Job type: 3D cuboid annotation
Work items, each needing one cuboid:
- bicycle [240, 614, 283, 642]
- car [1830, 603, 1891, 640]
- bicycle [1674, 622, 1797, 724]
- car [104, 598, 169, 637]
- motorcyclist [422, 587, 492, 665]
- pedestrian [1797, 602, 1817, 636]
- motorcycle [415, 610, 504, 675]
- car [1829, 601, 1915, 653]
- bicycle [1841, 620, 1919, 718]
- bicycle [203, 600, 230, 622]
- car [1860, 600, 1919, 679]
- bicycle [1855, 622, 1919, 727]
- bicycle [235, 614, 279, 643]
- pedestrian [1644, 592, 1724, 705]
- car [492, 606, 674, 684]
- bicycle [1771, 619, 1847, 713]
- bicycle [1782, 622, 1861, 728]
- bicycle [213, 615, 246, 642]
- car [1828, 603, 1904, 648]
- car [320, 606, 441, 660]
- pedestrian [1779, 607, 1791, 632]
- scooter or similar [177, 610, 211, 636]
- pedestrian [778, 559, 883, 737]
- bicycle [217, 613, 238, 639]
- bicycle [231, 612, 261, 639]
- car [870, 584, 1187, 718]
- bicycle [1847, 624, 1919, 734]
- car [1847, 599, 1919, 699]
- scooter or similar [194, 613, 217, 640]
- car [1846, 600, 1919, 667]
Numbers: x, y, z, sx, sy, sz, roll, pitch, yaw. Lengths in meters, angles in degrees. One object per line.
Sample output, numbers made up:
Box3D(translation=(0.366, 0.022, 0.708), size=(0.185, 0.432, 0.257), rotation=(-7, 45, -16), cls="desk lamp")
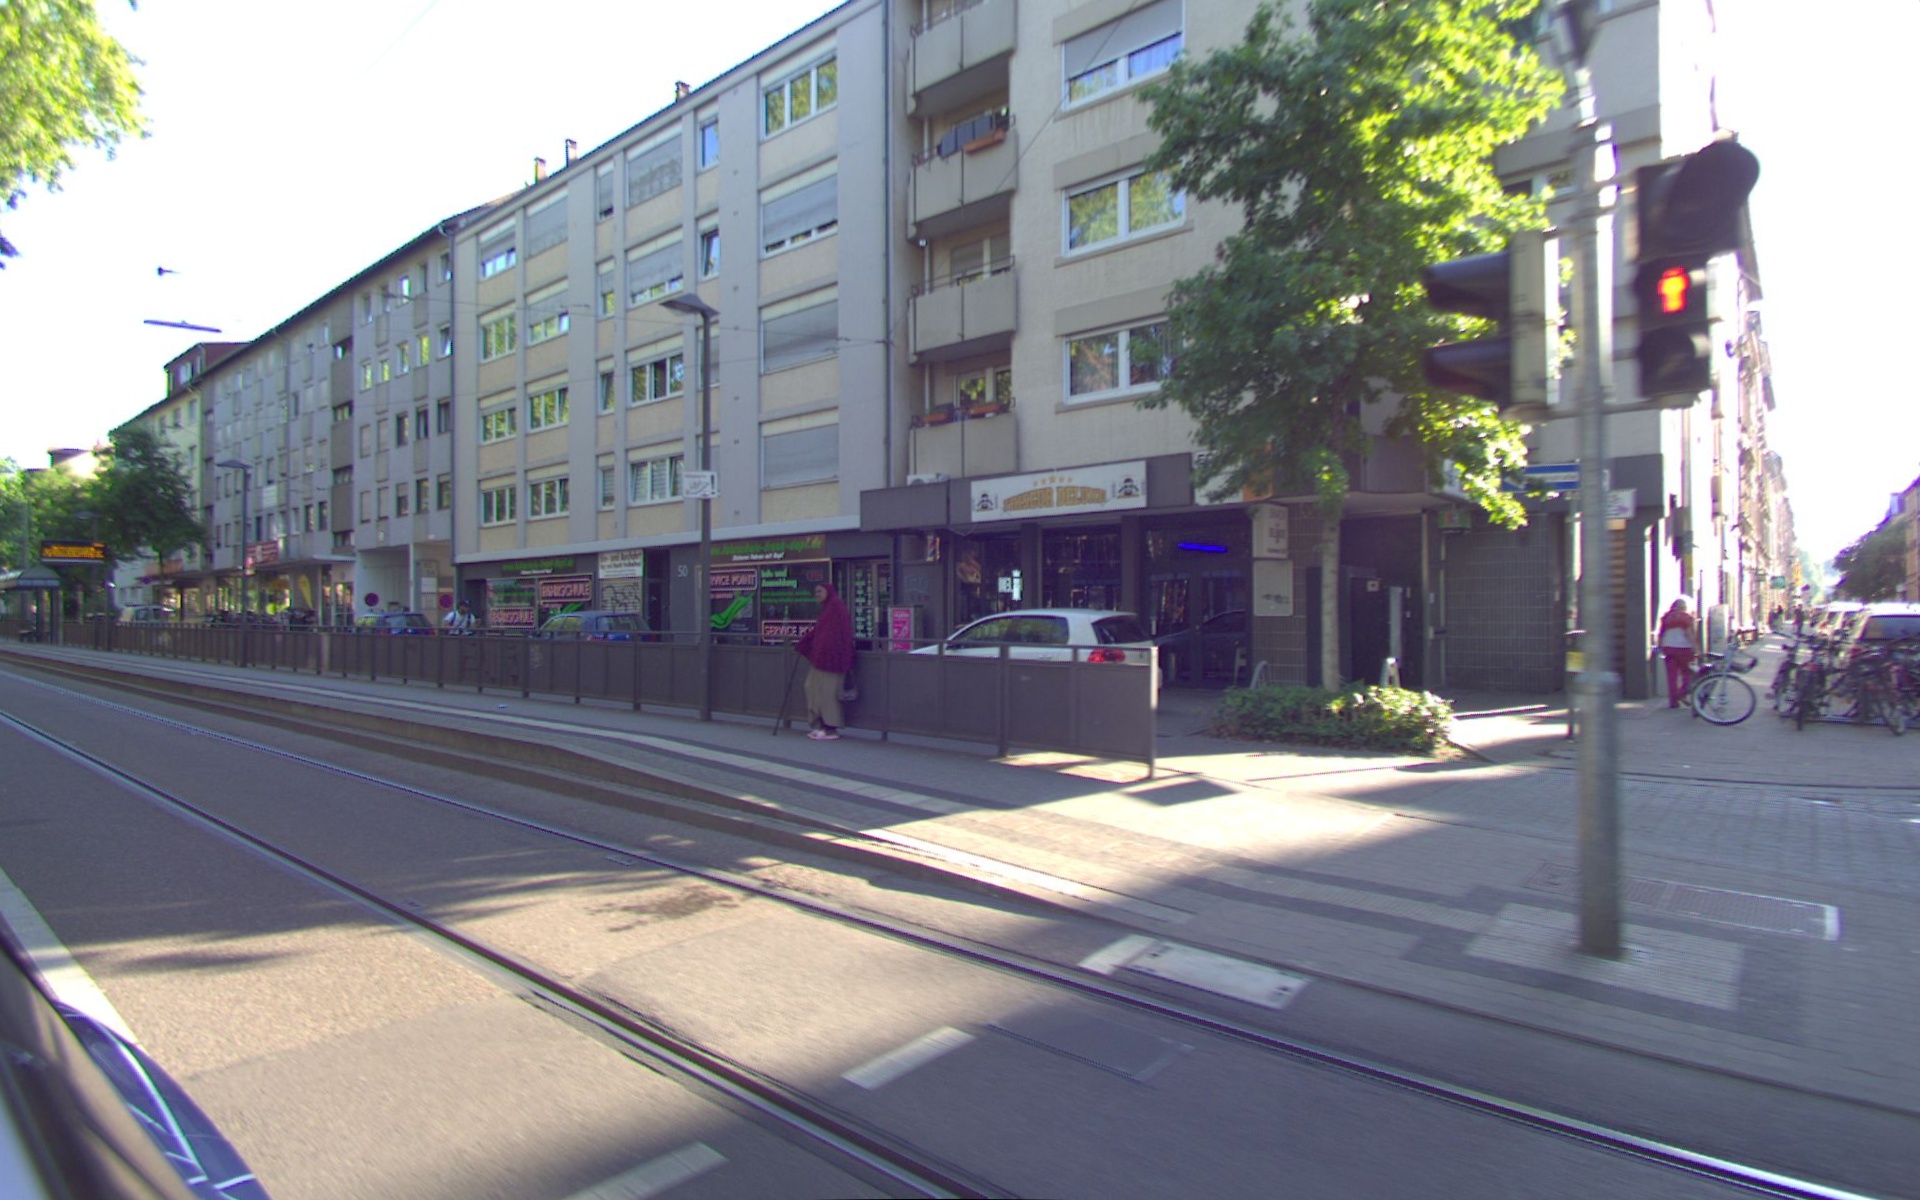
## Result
Box3D(translation=(-29.452, 1.177, 42.655), size=(2.019, 1.165, 0.556), rotation=(0, -1, 25), cls="bicycle")
Box3D(translation=(38.751, 0.884, 43.619), size=(1.894, 1.515, 3.731), rotation=(-1, -1, 41), cls="car")
Box3D(translation=(9.730, 0.867, 12.781), size=(0.567, 1.165, 2.025), rotation=(0, -1, 18), cls="bicycle")
Box3D(translation=(-42.184, 0.900, 51.827), size=(4.045, 1.949, 1.785), rotation=(-1, -1, 39), cls="car")
Box3D(translation=(-9.644, 0.487, 19.394), size=(1.015, 1.451, 0.864), rotation=(-1, -1, 40), cls="motorcyclist")
Box3D(translation=(40.169, 0.888, 47.988), size=(0.664, 1.568, 0.717), rotation=(-1, -1, 37), cls="pedestrian")
Box3D(translation=(-9.595, 0.789, 19.363), size=(1.913, 1.173, 0.840), rotation=(-1, -1, 40), cls="motorcycle")
Box3D(translation=(28.391, 0.802, 31.606), size=(1.894, 1.515, 3.731), rotation=(-1, -1, 41), cls="car")
Box3D(translation=(11.935, 0.851, 13.035), size=(1.761, 1.165, 0.573), rotation=(0, -1, -39), cls="bicycle")
Box3D(translation=(-40.710, 0.621, 55.426), size=(2.033, 1.165, 0.565), rotation=(-1, -1, 35), cls="bicycle")
Box3D(translation=(19.647, 0.755, 20.682), size=(1.804, 1.515, 3.731), rotation=(-1, -1, 41), cls="car")
Box3D(translation=(11.458, 0.849, 11.910), size=(1.759, 1.165, 0.574), rotation=(0, -1, -19), cls="bicycle")
Box3D(translation=(-29.329, 1.181, 42.227), size=(2.019, 1.165, 0.556), rotation=(0, -1, 25), cls="bicycle")
Box3D(translation=(10.421, 0.673, 14.568), size=(0.715, 1.568, 0.727), rotation=(0, -1, -36), cls="pedestrian")
Box3D(translation=(-8.459, 0.946, 22.561), size=(4.386, 1.556, 1.936), rotation=(-1, -2, 41), cls="car")
Box3D(translation=(11.394, 0.842, 13.624), size=(0.570, 1.165, 1.769), rotation=(-1, -1, 33), cls="bicycle")
Box3D(translation=(10.328, 0.854, 12.113), size=(0.572, 1.165, 1.837), rotation=(-1, -1, 45), cls="bicycle")
Box3D(translation=(-32.629, 1.258, 45.217), size=(2.033, 1.165, 0.565), rotation=(-1, -1, 35), cls="bicycle")
Box3D(translation=(31.801, 0.859, 35.614), size=(1.894, 1.515, 3.731), rotation=(-1, -1, 41), cls="car")
Box3D(translation=(-17.095, 0.934, 29.789), size=(4.279, 1.475, 1.776), rotation=(-1, -2, 41), cls="car")
Box3D(translation=(52.451, 1.261, 64.306), size=(0.574, 1.568, 0.521), rotation=(-1, -1, 40), cls="pedestrian")
Box3D(translation=(-35.483, 1.067, 46.893), size=(1.258, 1.183, 0.445), rotation=(0, -1, 4), cls="scooter or similar")
Box3D(translation=(-1.229, 0.438, 9.585), size=(0.772, 1.597, 0.647), rotation=(-1, -1, 41), cls="pedestrian")
Box3D(translation=(-34.192, 1.198, 47.238), size=(1.688, 1.165, 0.506), rotation=(-1, -1, 44), cls="bicycle")
Box3D(translation=(-31.082, 1.111, 44.063), size=(1.748, 1.165, 0.488), rotation=(-1, -1, 35), cls="bicycle")
Box3D(translation=(0.893, 0.668, 14.691), size=(4.354, 1.664, 1.859), rotation=(-1, -2, 40), cls="car")
Box3D(translation=(10.910, 0.853, 11.394), size=(1.759, 1.165, 0.574), rotation=(0, -1, -19), cls="bicycle")
Box3D(translation=(16.017, 0.746, 16.802), size=(1.894, 1.515, 4.236), rotation=(-1, -1, 41), cls="car")
Box3D(translation=(-34.399, 1.197, 46.132), size=(1.272, 1.183, 0.440), rotation=(-1, -1, 36), cls="scooter or similar")
Box3D(translation=(22.874, 0.767, 24.407), size=(1.891, 1.515, 3.736), rotation=(-1, -1, 36), cls="car")
